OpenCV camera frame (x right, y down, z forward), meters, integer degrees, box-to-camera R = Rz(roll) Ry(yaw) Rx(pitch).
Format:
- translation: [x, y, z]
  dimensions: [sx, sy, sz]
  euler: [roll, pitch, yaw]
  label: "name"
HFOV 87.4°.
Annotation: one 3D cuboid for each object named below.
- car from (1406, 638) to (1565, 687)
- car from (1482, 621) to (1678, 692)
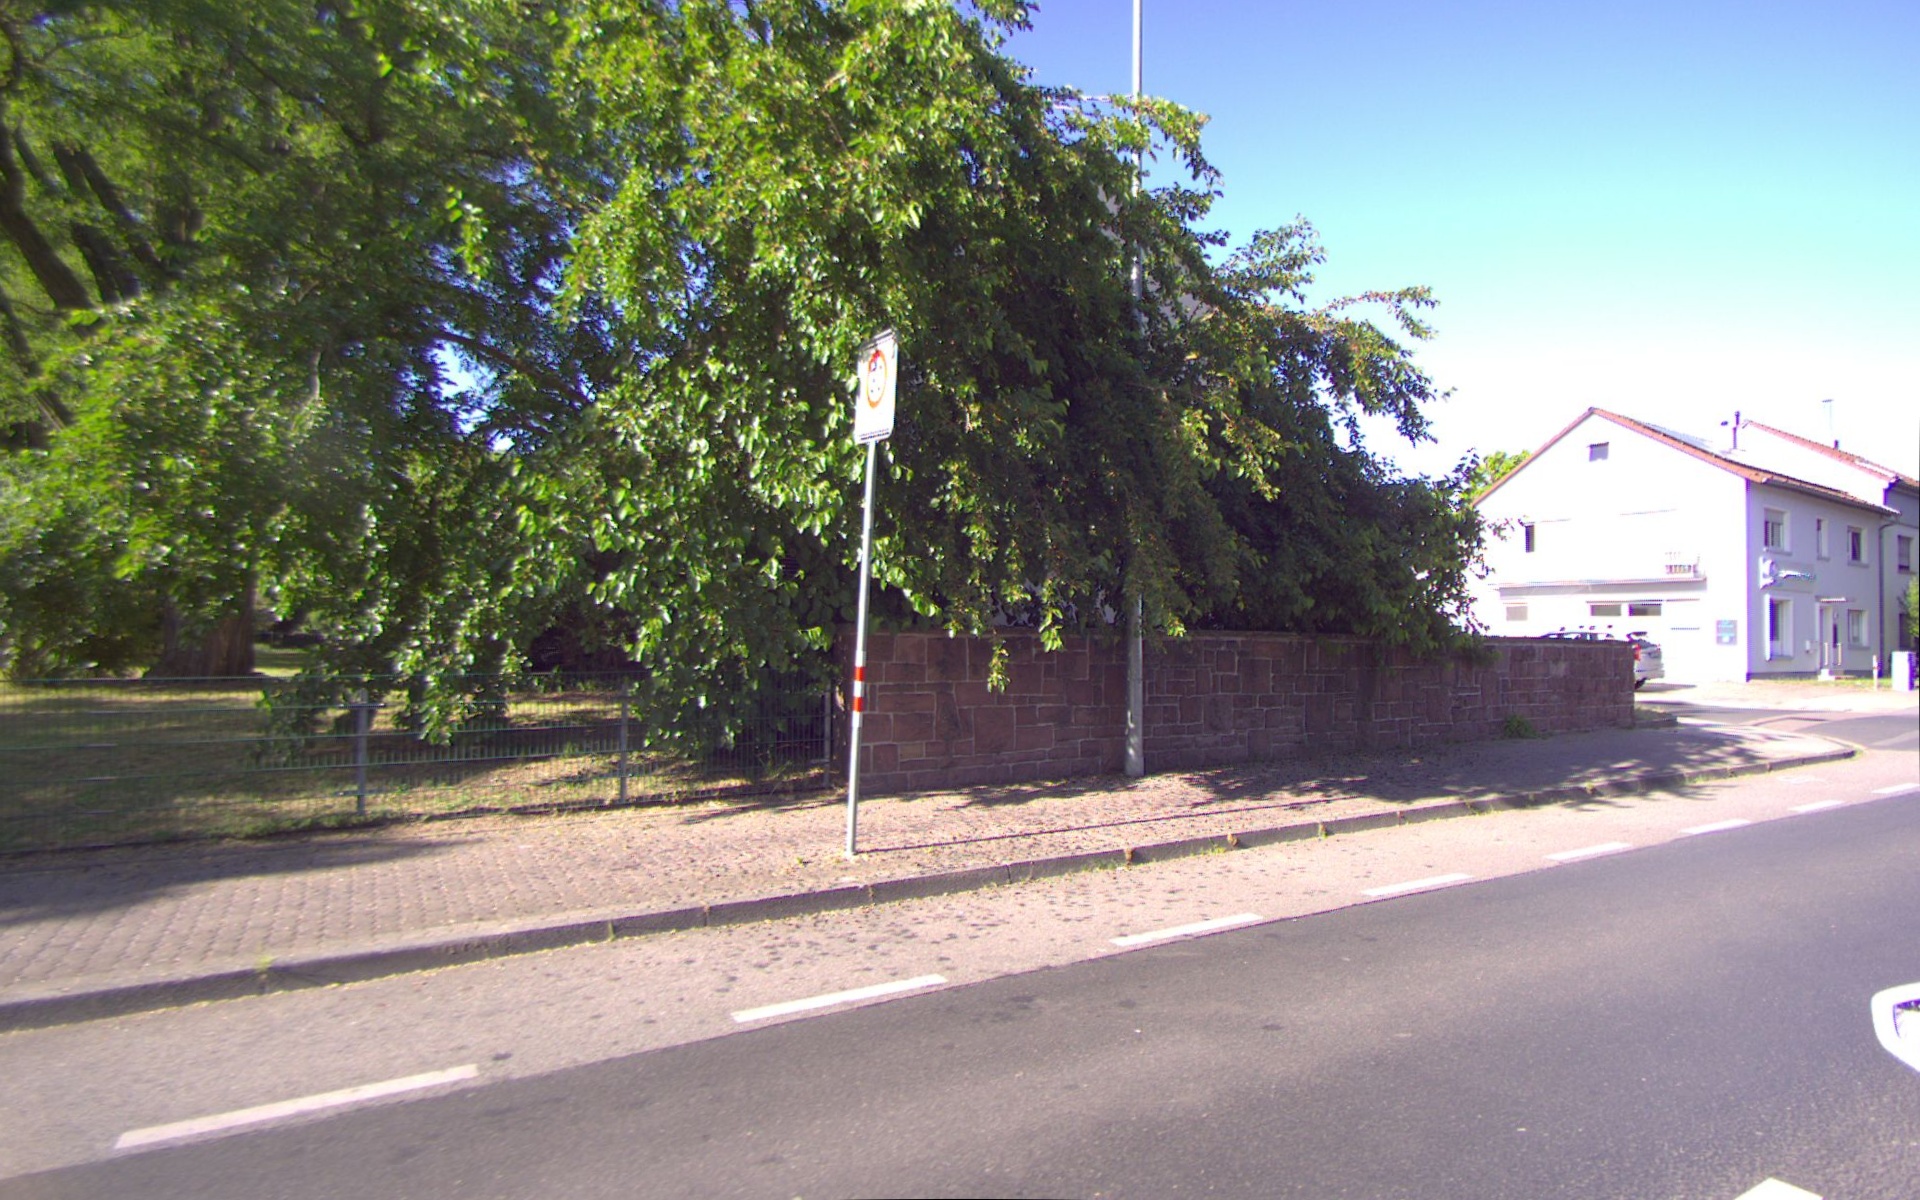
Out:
- translation: [18.229, 2.196, 35.040]
  dimensions: [1.980, 1.575, 4.472]
  euler: [1, -4, -35]
  label: "car"
- translation: [18.081, 1.594, 29.488]
  dimensions: [1.978, 1.862, 4.464]
  euler: [-2, -1, -32]
  label: "car"
